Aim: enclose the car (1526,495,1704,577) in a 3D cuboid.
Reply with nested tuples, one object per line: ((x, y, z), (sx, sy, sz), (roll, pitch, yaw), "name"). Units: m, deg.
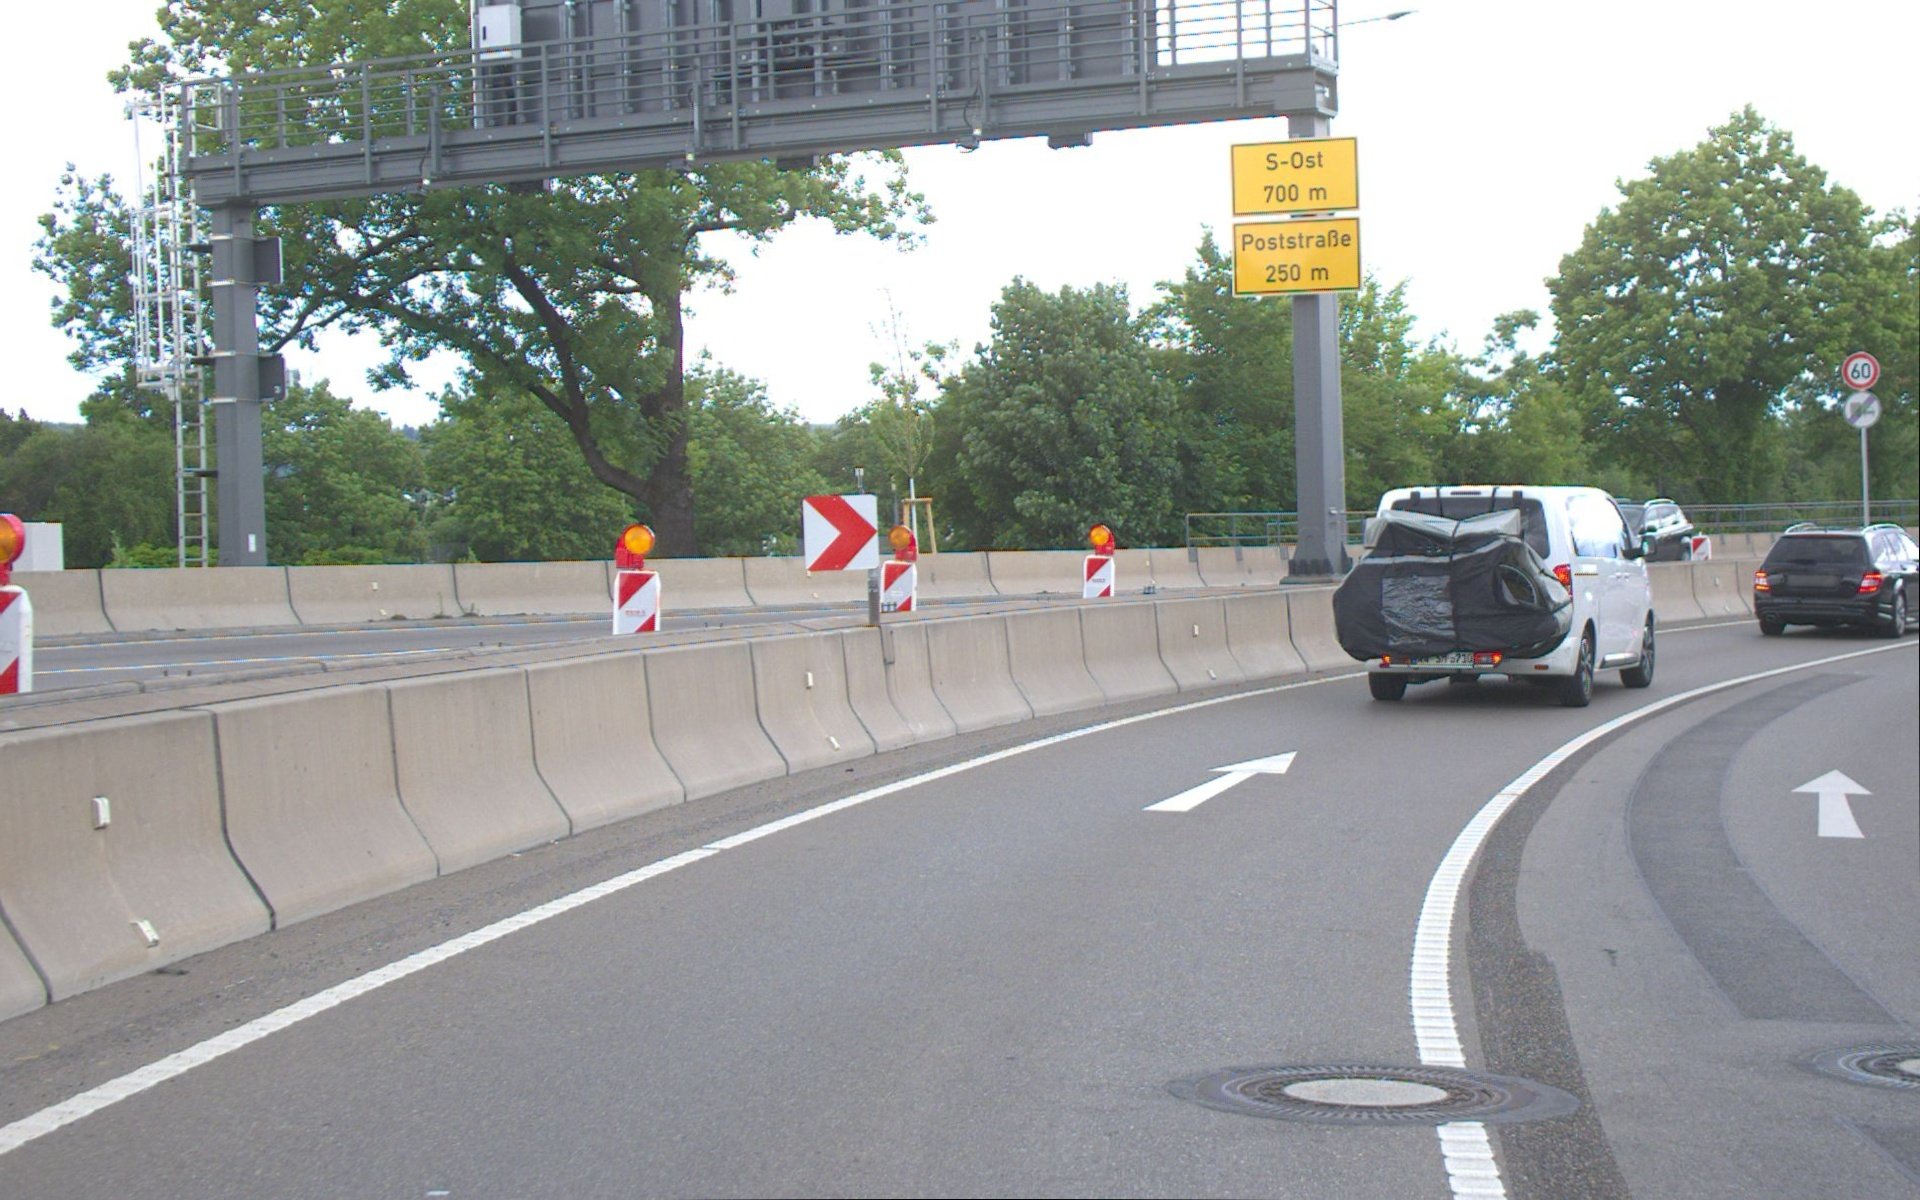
((14.021, -1.374, 73.430), (1.997, 1.666, 4.719), (2, 2, 34), "car")

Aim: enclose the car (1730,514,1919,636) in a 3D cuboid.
((11.371, -0.347, 44.201), (1.817, 1.429, 4.059), (-1, 1, 28), "car")

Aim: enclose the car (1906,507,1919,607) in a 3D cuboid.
((15.961, -0.691, 52.330), (1.924, 1.483, 4.058), (0, 2, 32), "car")

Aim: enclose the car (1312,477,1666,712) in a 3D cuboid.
((4.778, -0.114, 30.297), (1.995, 1.852, 5.635), (1, 2, 20), "car")
